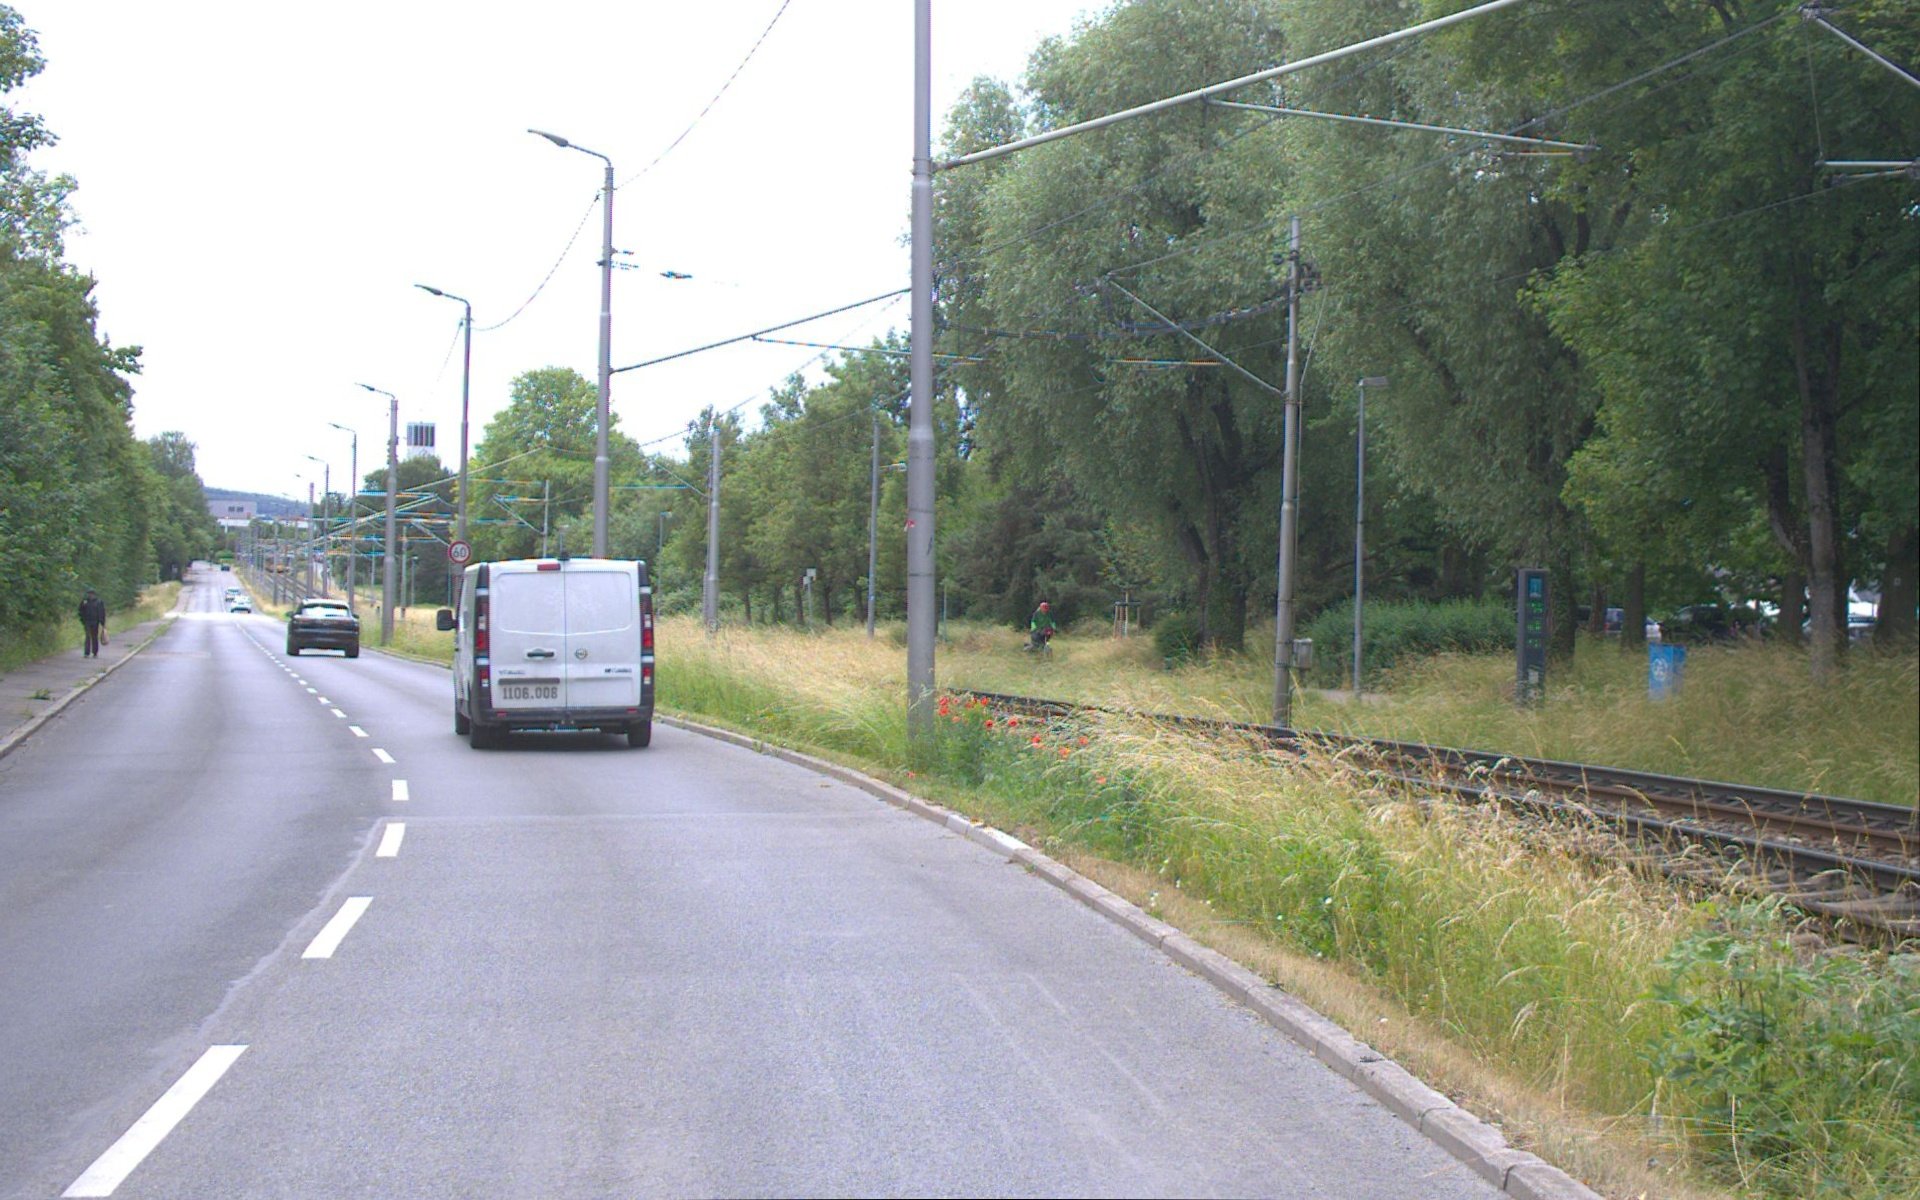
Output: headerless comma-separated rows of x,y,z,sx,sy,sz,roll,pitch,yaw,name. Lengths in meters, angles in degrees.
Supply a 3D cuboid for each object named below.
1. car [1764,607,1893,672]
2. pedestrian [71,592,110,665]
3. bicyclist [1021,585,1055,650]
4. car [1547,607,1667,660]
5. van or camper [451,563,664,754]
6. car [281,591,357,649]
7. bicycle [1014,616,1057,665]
24.267,1.094,96.198,1.993,1.694,4.001,2,0,-10,car
-21.260,0.692,84.090,0.867,1.764,0.789,-1,1,-16,pedestrian
2.051,0.451,90.482,0.580,1.690,0.936,2,0,-16,bicyclist
23.693,1.224,126.006,1.994,1.806,3.999,2,0,-37,car
-4.317,0.590,36.363,1.941,1.891,4.286,0,0,-11,van or camper
-18.277,0.567,97.864,1.993,1.588,4.001,0,0,-12,car
1.989,1.063,90.660,0.580,1.242,1.930,1,0,-16,bicycle
